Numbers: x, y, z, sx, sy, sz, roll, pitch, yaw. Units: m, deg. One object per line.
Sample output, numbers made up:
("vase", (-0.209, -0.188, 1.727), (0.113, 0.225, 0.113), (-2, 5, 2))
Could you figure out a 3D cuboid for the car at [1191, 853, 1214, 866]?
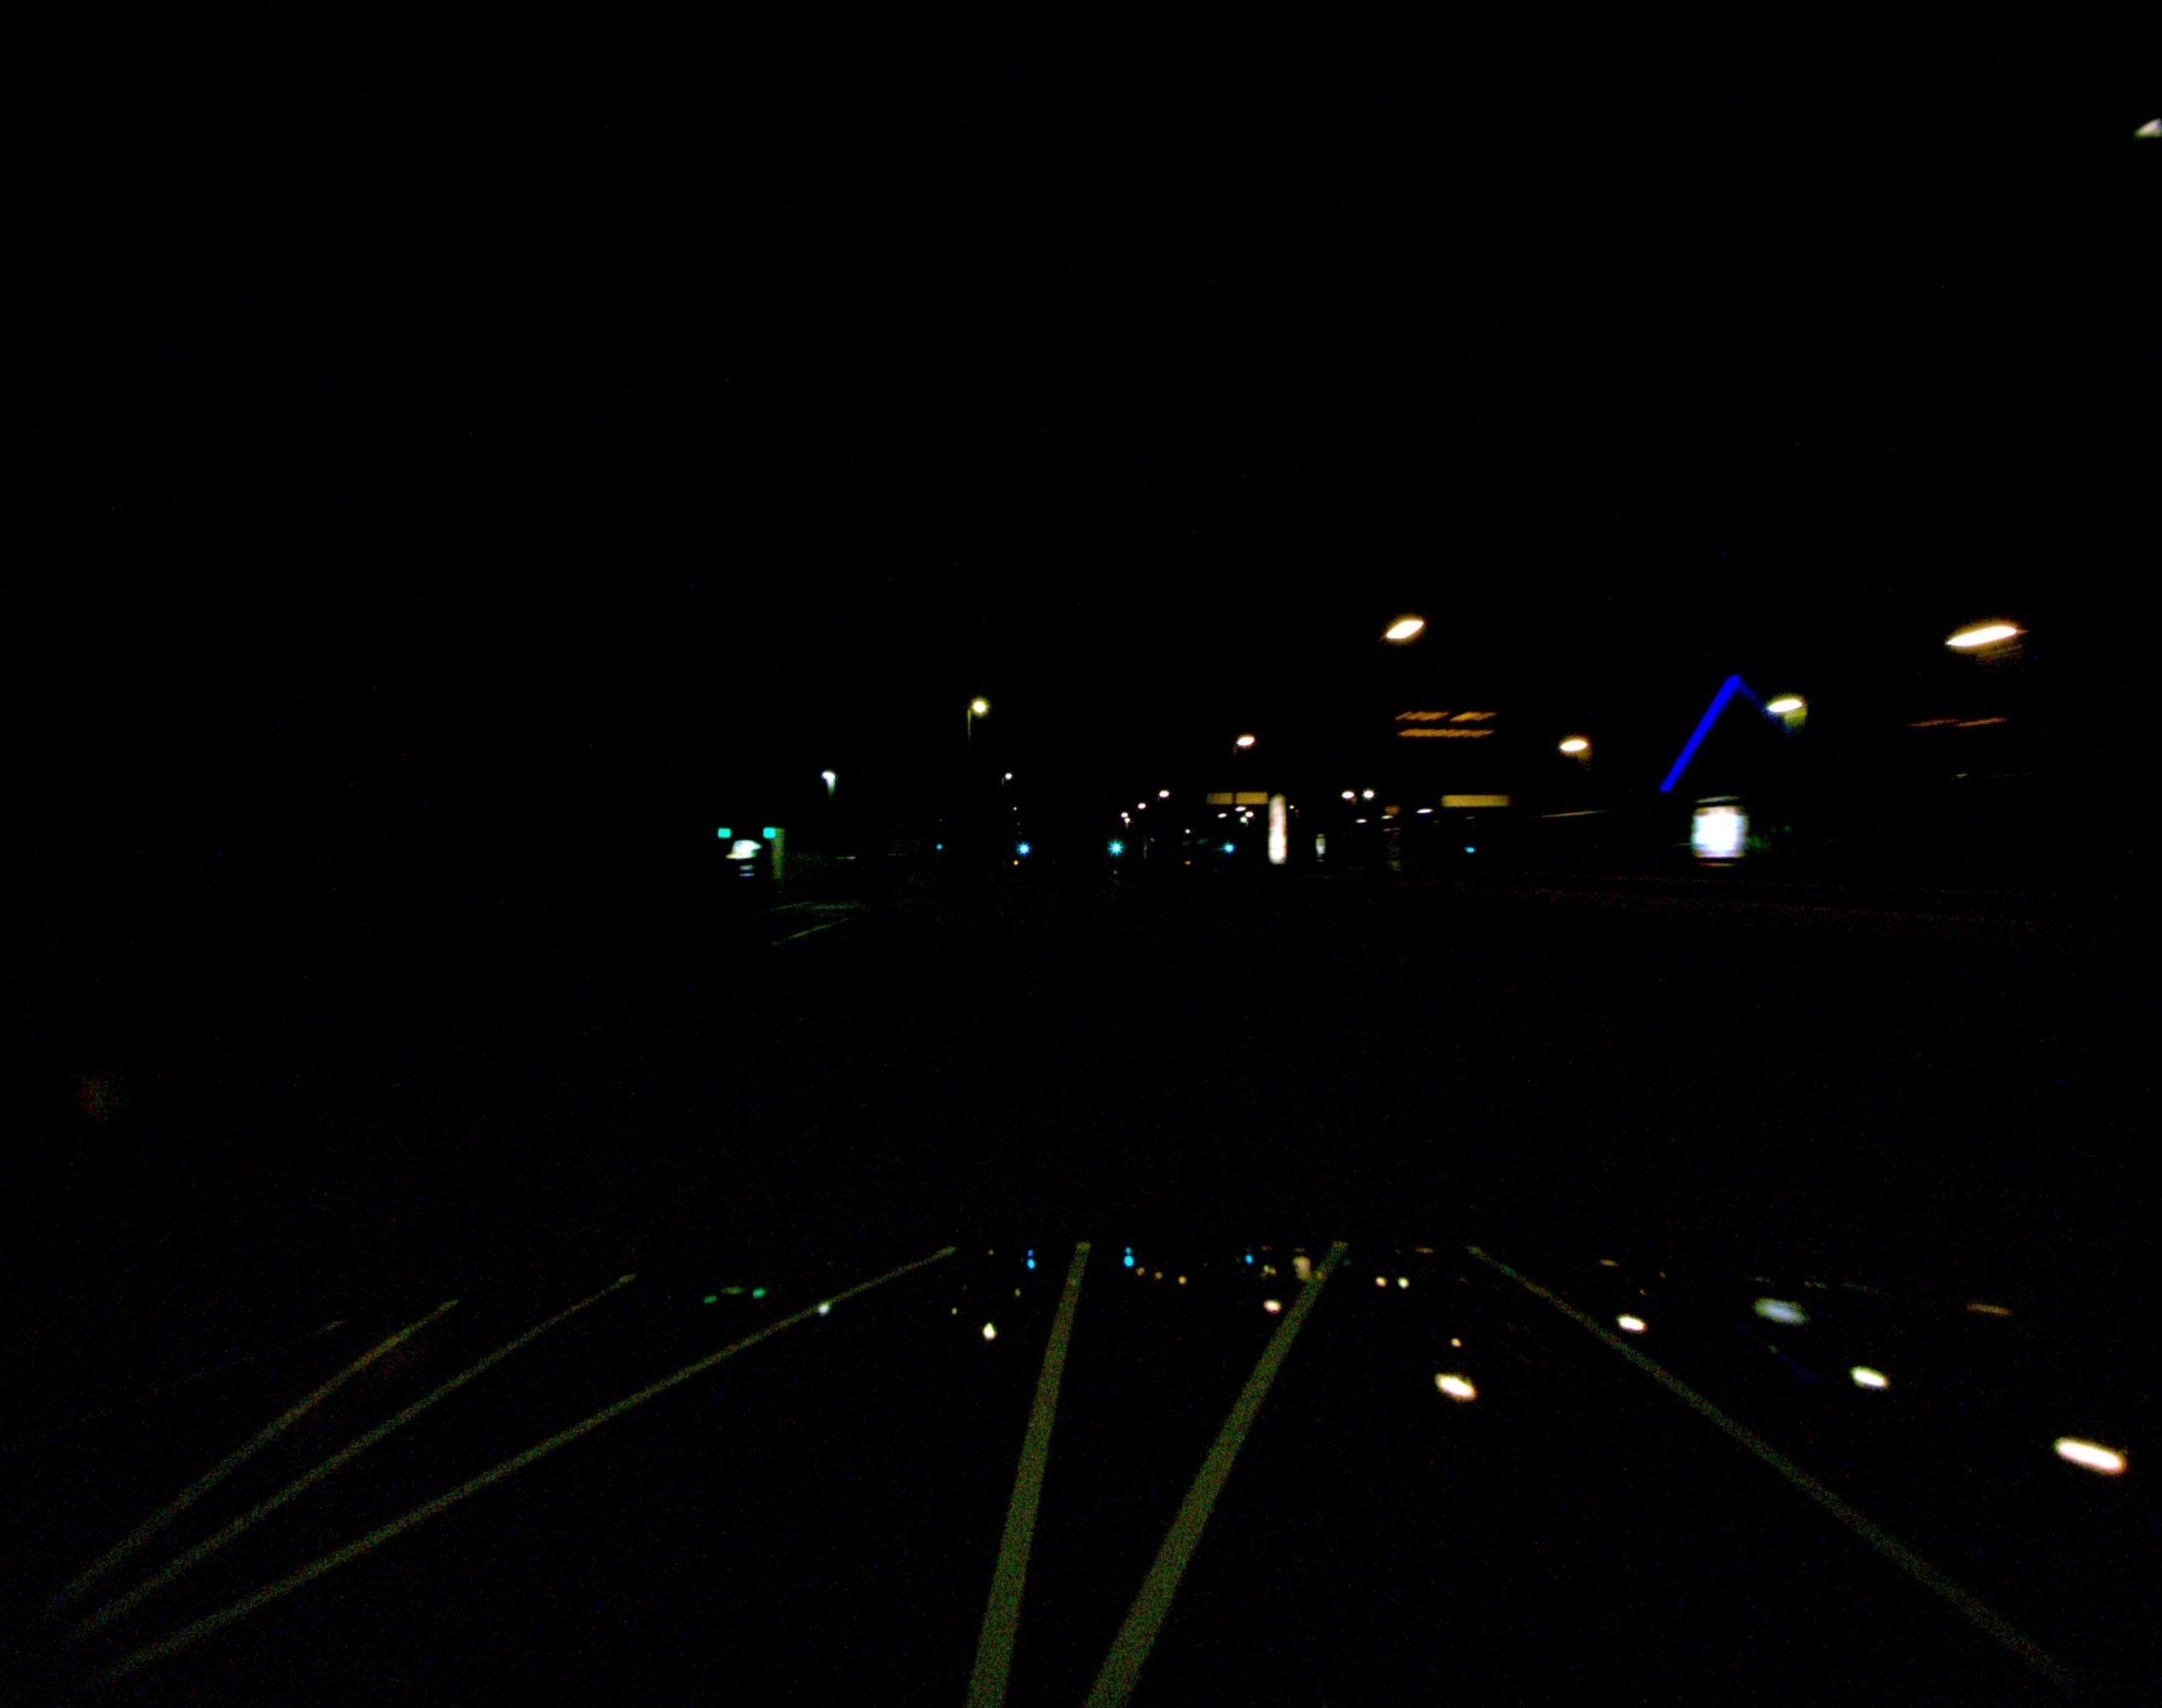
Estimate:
("car", (14.788, 0.669, 92.708), (1.871, 1.496, 4.093), (0, 0, -5))
